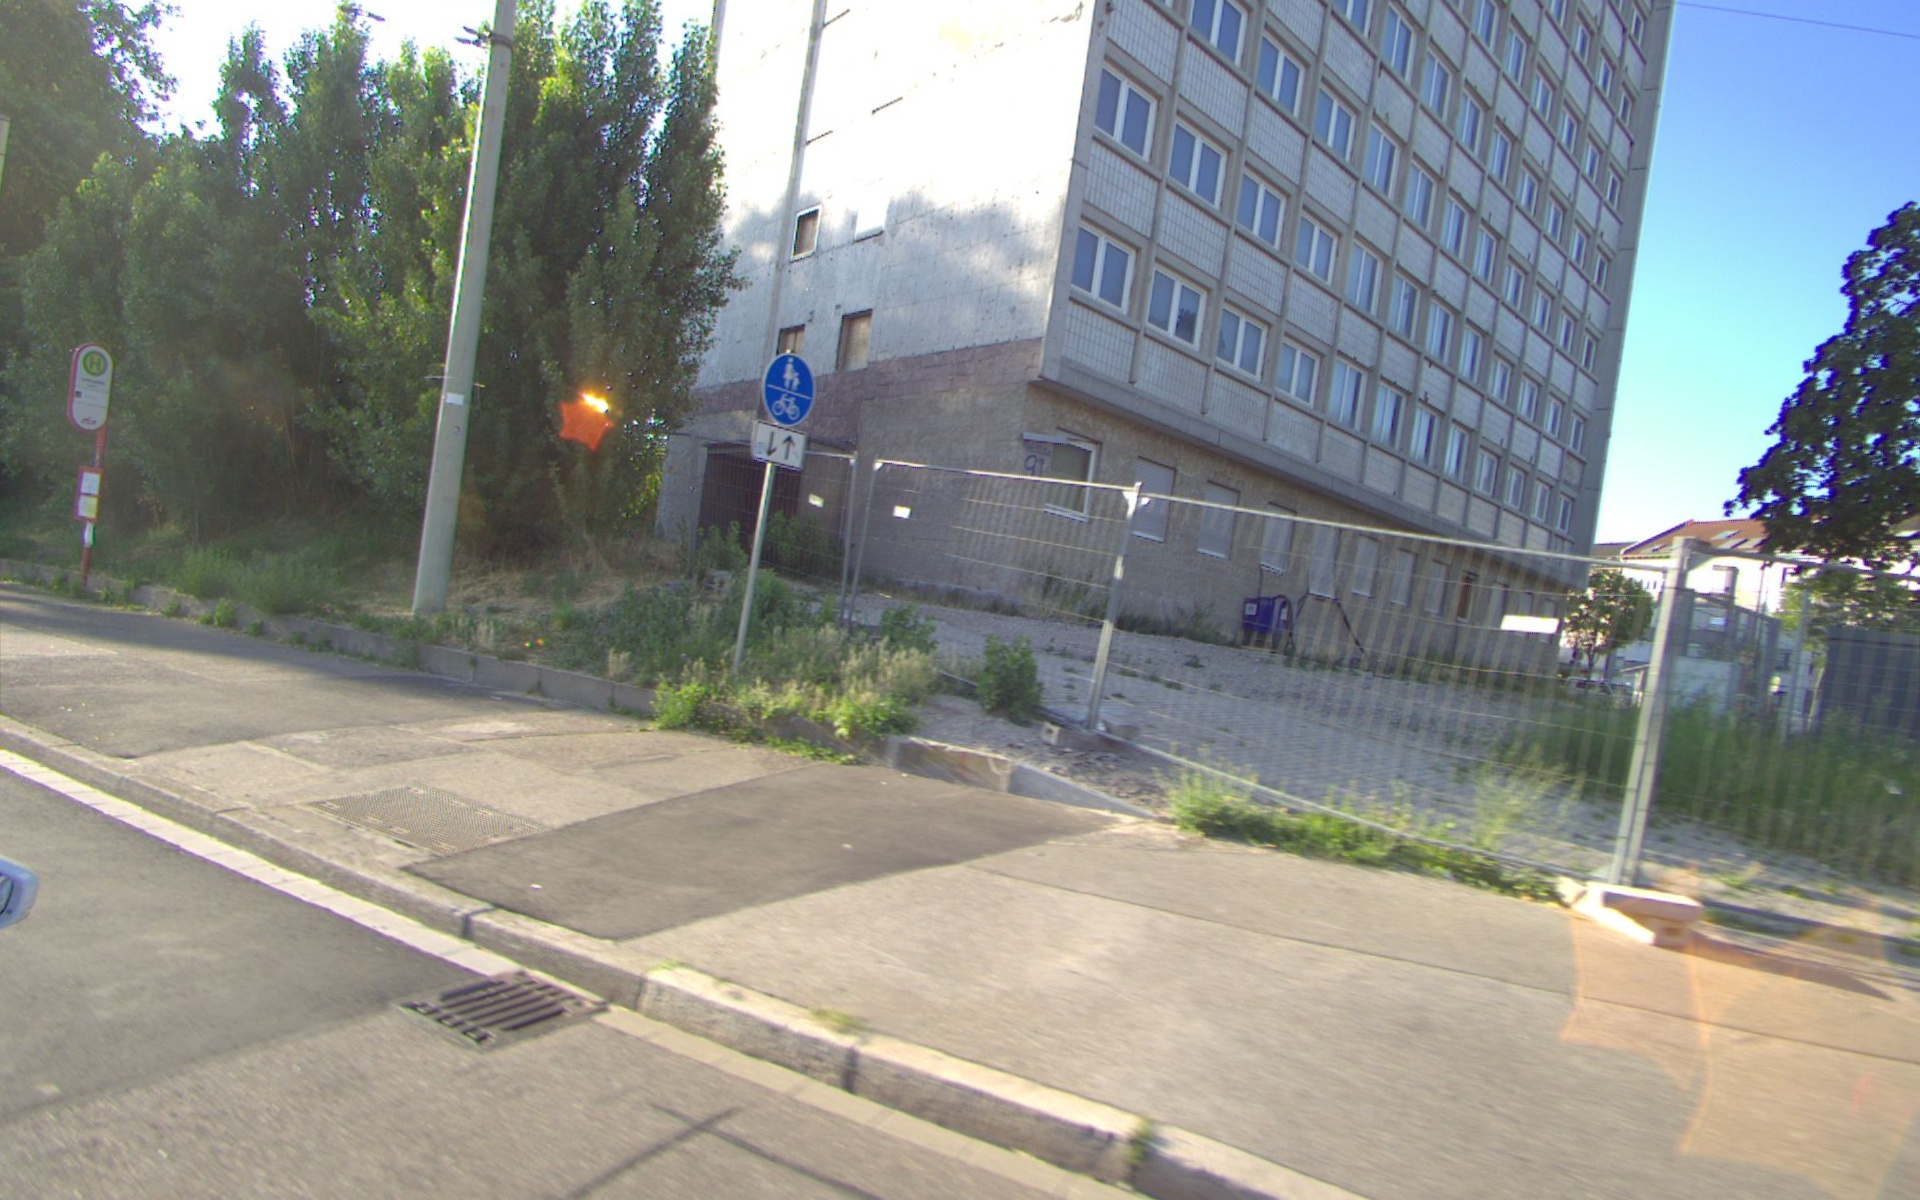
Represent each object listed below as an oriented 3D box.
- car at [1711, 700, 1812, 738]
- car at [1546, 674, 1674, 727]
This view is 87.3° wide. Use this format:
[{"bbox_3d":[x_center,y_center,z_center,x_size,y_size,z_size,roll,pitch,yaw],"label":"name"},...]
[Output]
[{"bbox_3d":[45.004,6.656,56.612,1.677,1.468,4.326,7,-1,-8],"label":"car"},{"bbox_3d":[25.516,3.923,39.669,1.677,1.468,4.326,7,-1,-8],"label":"car"}]
